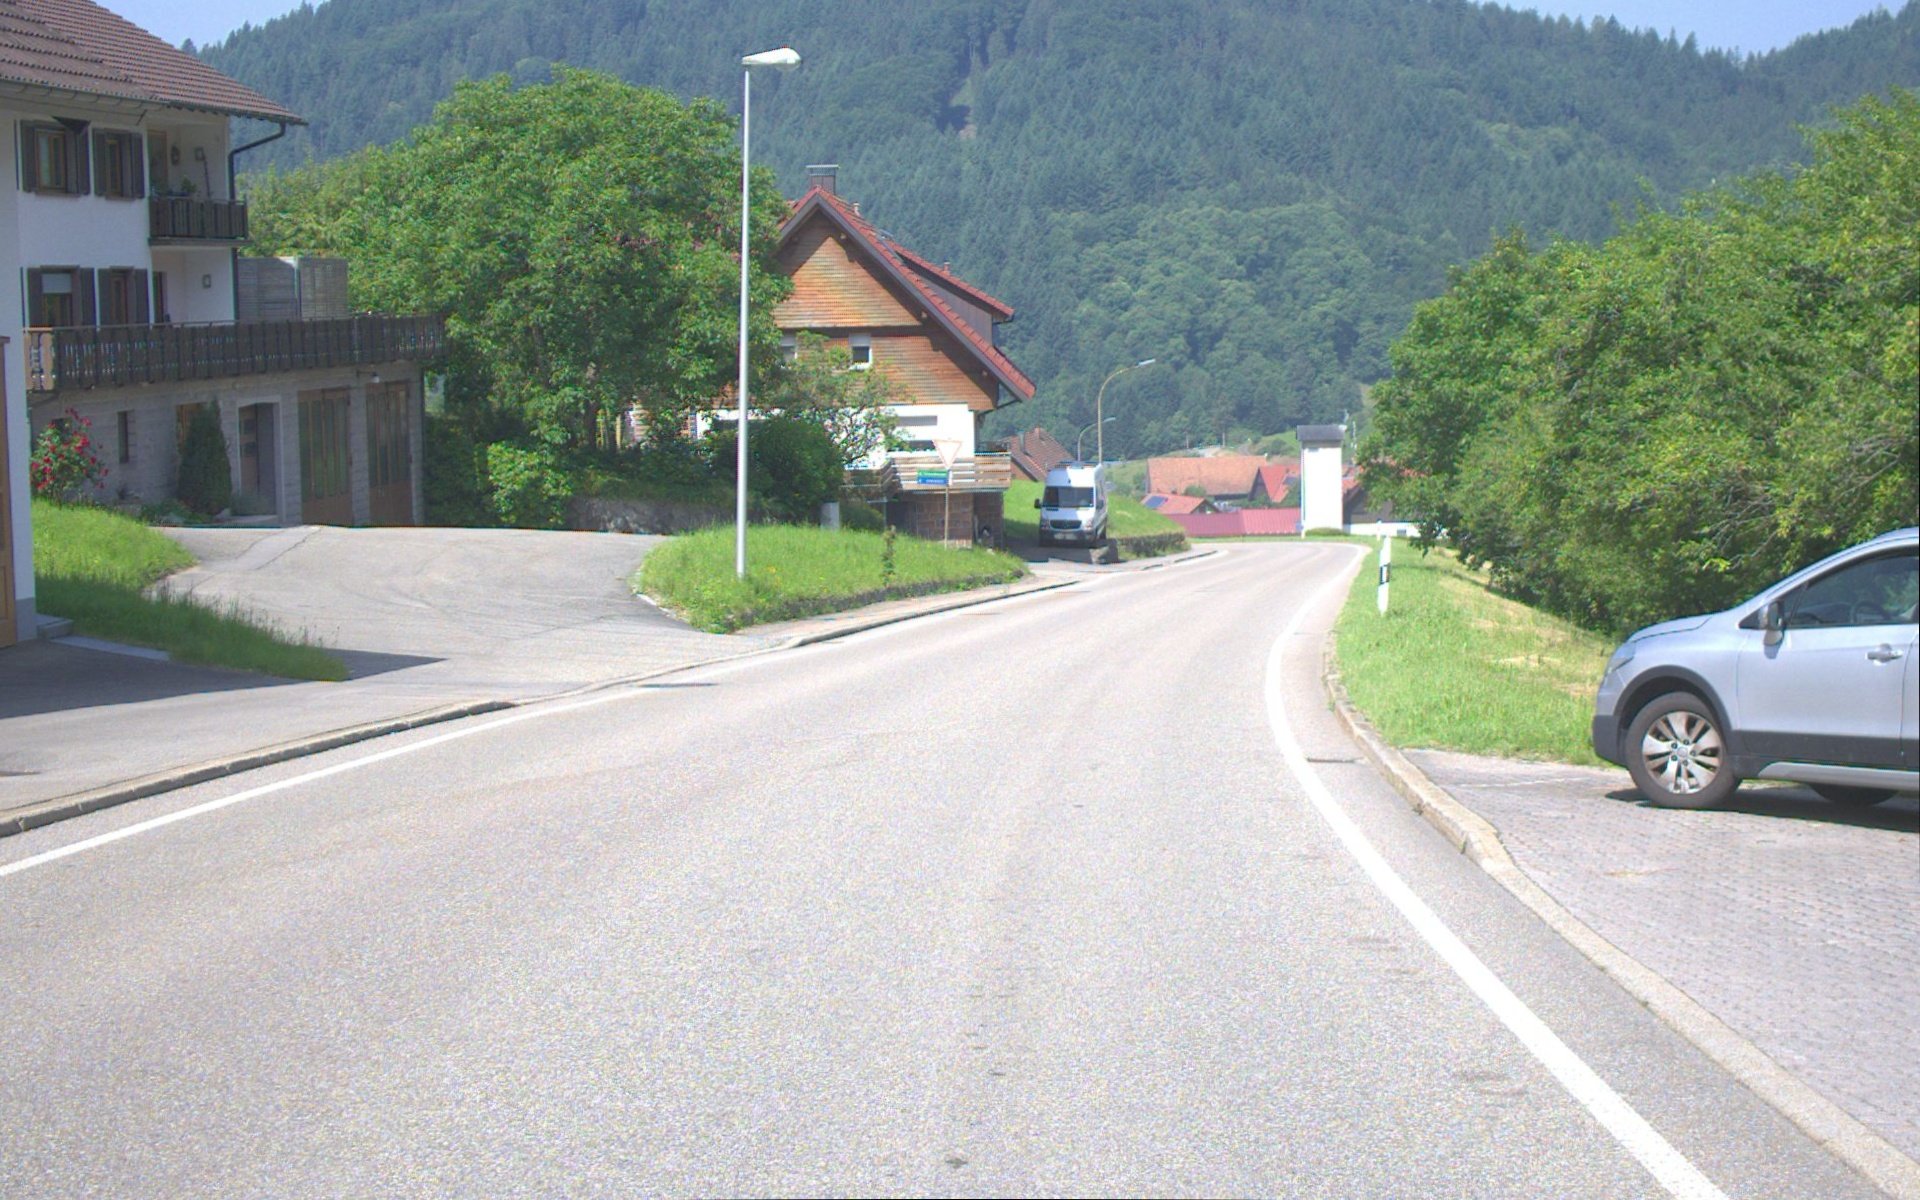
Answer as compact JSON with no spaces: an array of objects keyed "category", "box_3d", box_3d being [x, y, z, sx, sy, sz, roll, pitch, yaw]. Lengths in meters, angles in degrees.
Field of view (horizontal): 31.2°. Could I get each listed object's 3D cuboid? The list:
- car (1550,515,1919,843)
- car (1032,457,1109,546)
[{"category":"car","box_3d":[5.390,0.406,17.766,1.900,1.565,4.461,0,3,-38]},{"category":"car","box_3d":[3.894,-3.460,119.425,2.068,2.679,7.174,-1,5,6]}]
